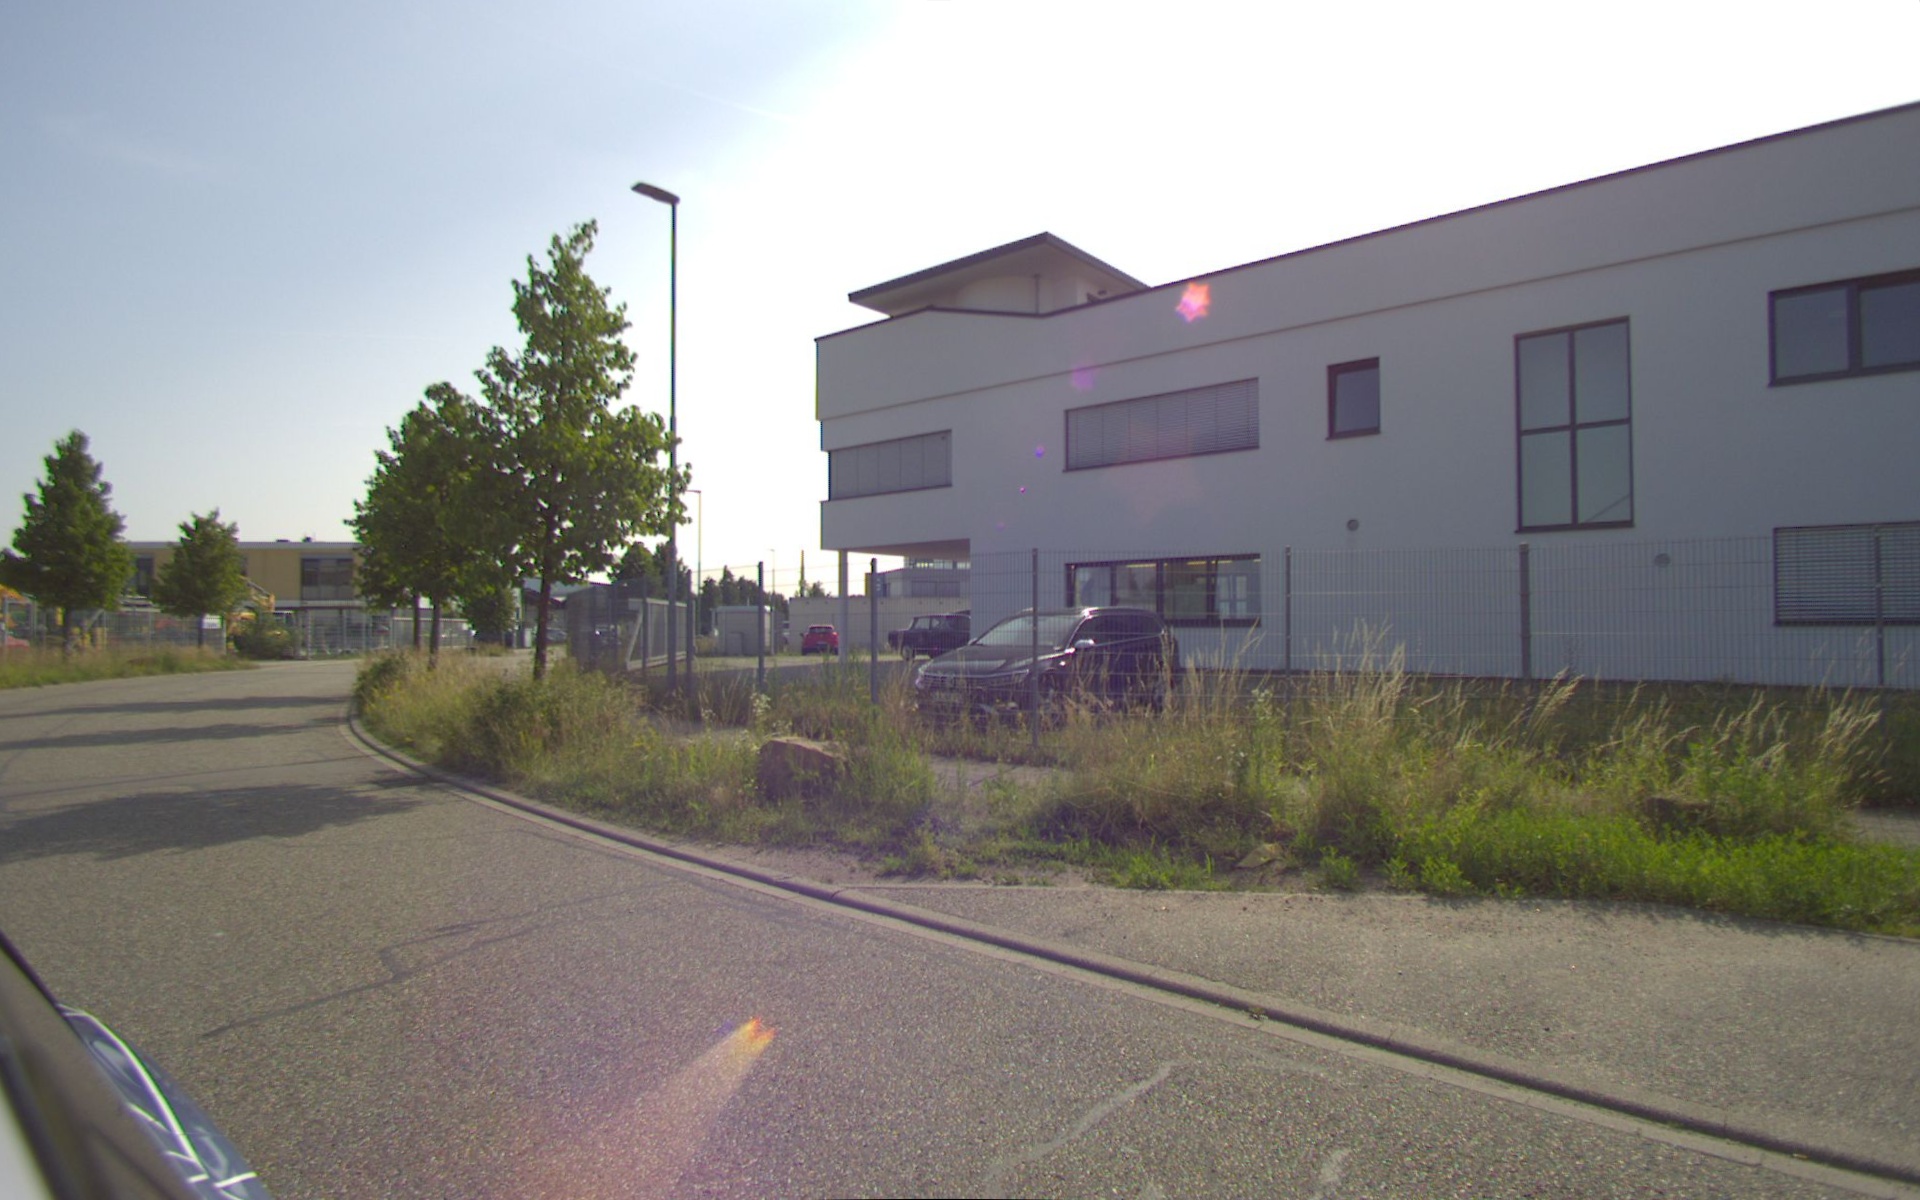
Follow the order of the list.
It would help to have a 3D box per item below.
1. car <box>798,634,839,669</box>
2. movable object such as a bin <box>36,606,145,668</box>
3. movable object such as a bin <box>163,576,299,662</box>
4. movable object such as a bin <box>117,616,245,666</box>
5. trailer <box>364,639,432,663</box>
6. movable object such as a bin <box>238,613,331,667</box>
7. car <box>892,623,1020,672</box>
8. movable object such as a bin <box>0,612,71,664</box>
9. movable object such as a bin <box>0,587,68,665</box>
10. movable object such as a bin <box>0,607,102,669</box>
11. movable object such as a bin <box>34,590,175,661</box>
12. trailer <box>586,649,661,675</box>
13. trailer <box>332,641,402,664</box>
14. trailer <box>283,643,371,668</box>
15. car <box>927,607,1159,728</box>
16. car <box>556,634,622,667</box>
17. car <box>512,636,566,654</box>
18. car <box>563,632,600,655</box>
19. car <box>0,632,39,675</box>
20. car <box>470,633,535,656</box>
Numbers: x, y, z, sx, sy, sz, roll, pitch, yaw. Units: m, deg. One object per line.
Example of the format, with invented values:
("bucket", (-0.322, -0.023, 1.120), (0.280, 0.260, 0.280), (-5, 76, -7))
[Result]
("car", (-6.650, 2.403, 47.255), (1.747, 1.537, 4.313), (0, -3, -10))
("movable object such as a bin", (-44.876, 1.915, 52.390), (1.969, 3.055, 4.496), (0, -2, -4))
("movable object such as a bin", (-43.880, 1.251, 61.290), (3.275, 4.843, 7.683), (0, -3, -6))
("movable object such as a bin", (-40.999, 2.169, 53.497), (2.888, 2.510, 5.343), (0, -2, -4))
("trailer", (-34.957, 3.157, 63.121), (1.970, 1.320, 4.567), (0, -1, -4))
("movable object such as a bin", (-36.383, 2.175, 54.676), (1.864, 2.773, 5.164), (0, -2, -4))
("car", (-0.162, 1.457, 31.221), (3.919, 1.426, 1.542), (-2, -3, 41))
("movable object such as a bin", (-53.624, 2.164, 57.236), (2.029, 2.790, 5.698), (1, -3, -6))
("movable object such as a bin", (-50.050, 1.366, 52.533), (2.652, 3.903, 5.723), (0, -2, -4))
("movable object such as a bin", (-47.184, 1.947, 52.377), (1.969, 3.055, 4.377), (0, -2, -4))
("movable object such as a bin", (-51.150, 1.614, 60.823), (2.882, 3.959, 7.217), (1, -3, -6))
("trailer", (-18.761, 3.424, 56.846), (2.105, 1.242, 7.160), (-2, -2, -3))
("trailer", (-34.172, 3.022, 58.473), (1.920, 1.253, 4.299), (0, -2, -6))
("trailer", (-33.448, 2.900, 53.658), (2.100, 1.253, 4.802), (0, -2, -6))
("car", (1.256, 0.854, 14.125), (1.594, 1.465, 3.460), (-2, -2, 37))
("car", (-18.460, 2.493, 50.568), (1.970, 1.478, 4.436), (-2, -2, -4))
("car", (-35.809, 3.798, 86.177), (3.936, 1.381, 1.794), (-2, -2, -9))
("car", (-30.559, 3.494, 81.863), (1.803, 1.733, 4.254), (-1, -1, -6))
("car", (-31.152, 1.663, 31.104), (1.856, 1.368, 4.782), (0, -2, -8))
("car", (-34.859, 3.385, 77.238), (4.168, 1.750, 1.904), (0, -2, -12))
